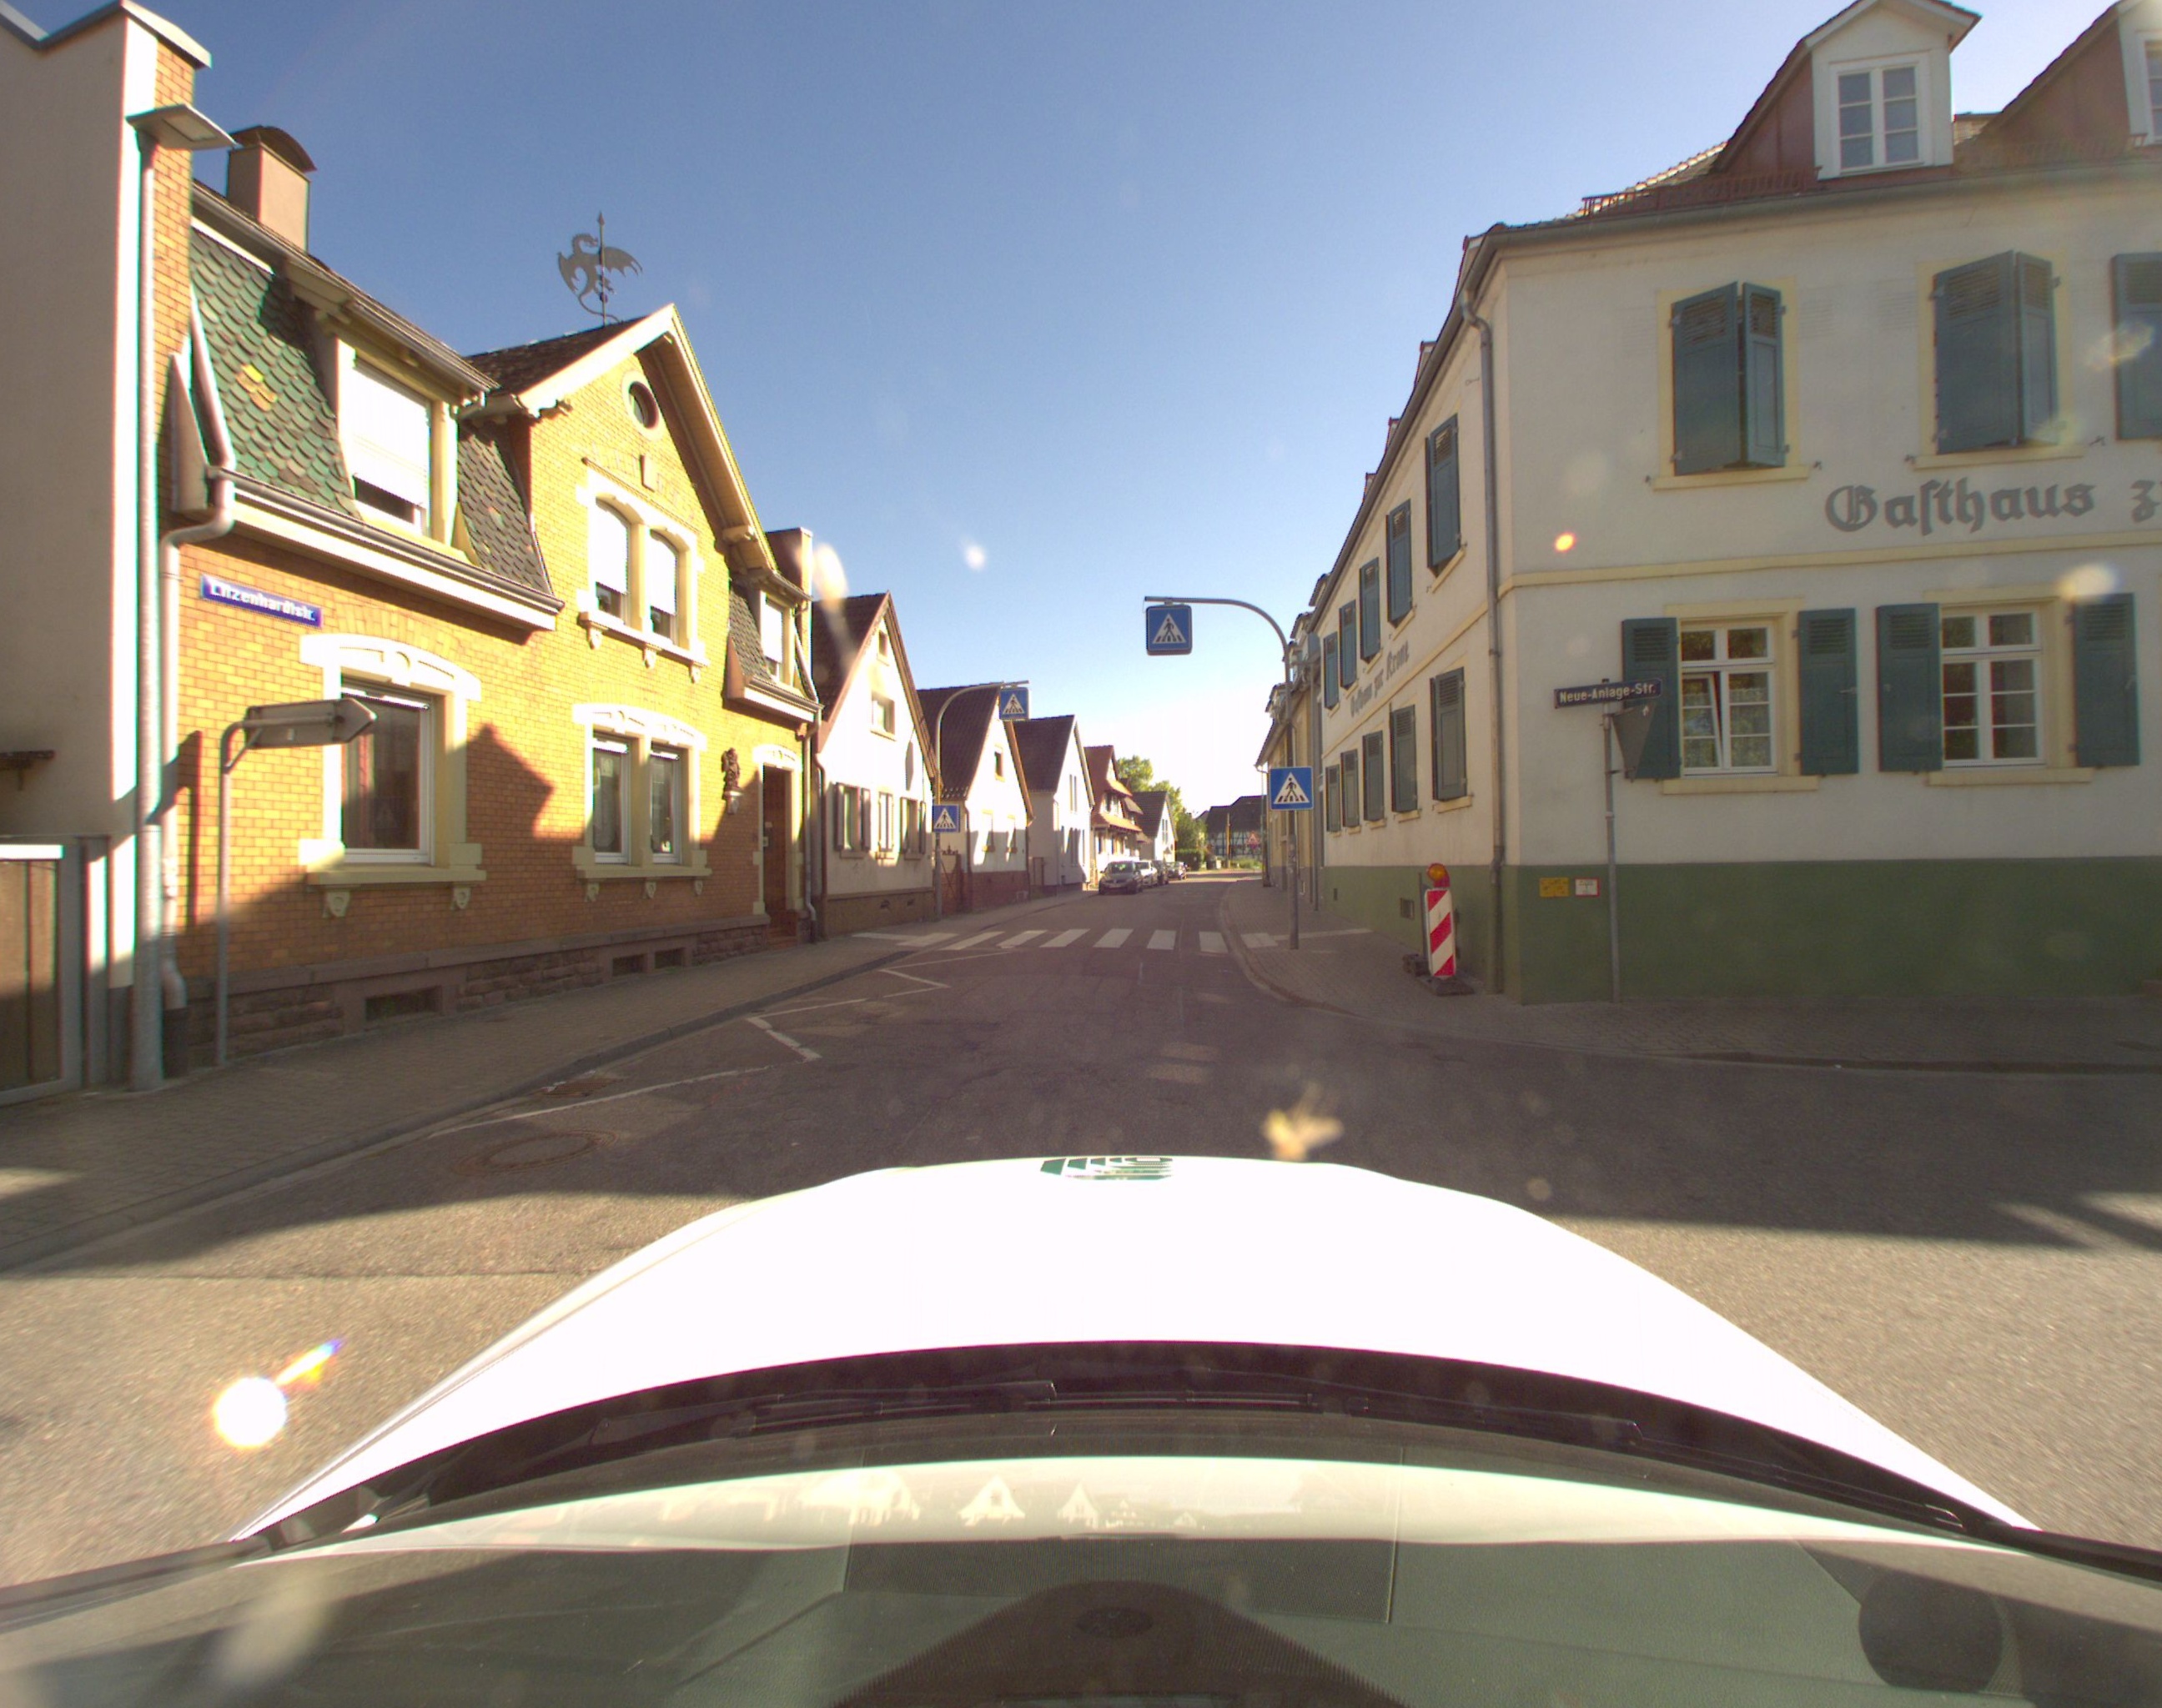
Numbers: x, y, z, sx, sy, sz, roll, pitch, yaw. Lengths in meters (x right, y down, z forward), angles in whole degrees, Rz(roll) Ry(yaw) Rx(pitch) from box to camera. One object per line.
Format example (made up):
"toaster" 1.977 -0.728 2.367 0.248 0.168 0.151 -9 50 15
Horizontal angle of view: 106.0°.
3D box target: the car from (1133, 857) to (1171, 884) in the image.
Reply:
"car" 4.509 1.035 51.380 1.771 1.605 4.376 -1 -1 13

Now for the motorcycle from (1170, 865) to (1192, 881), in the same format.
"motorcycle" 8.121 1.537 66.199 0.629 1.231 1.974 -1 -1 -33

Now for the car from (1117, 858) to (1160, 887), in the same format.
"car" 3.317 1.041 46.186 1.804 1.567 4.182 -1 -1 13

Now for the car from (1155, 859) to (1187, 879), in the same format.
"car" 6.965 1.125 62.453 1.832 1.406 5.054 -2 -2 13

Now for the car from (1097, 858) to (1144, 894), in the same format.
"car" 1.969 1.033 39.287 1.731 1.614 4.011 -1 -1 10
